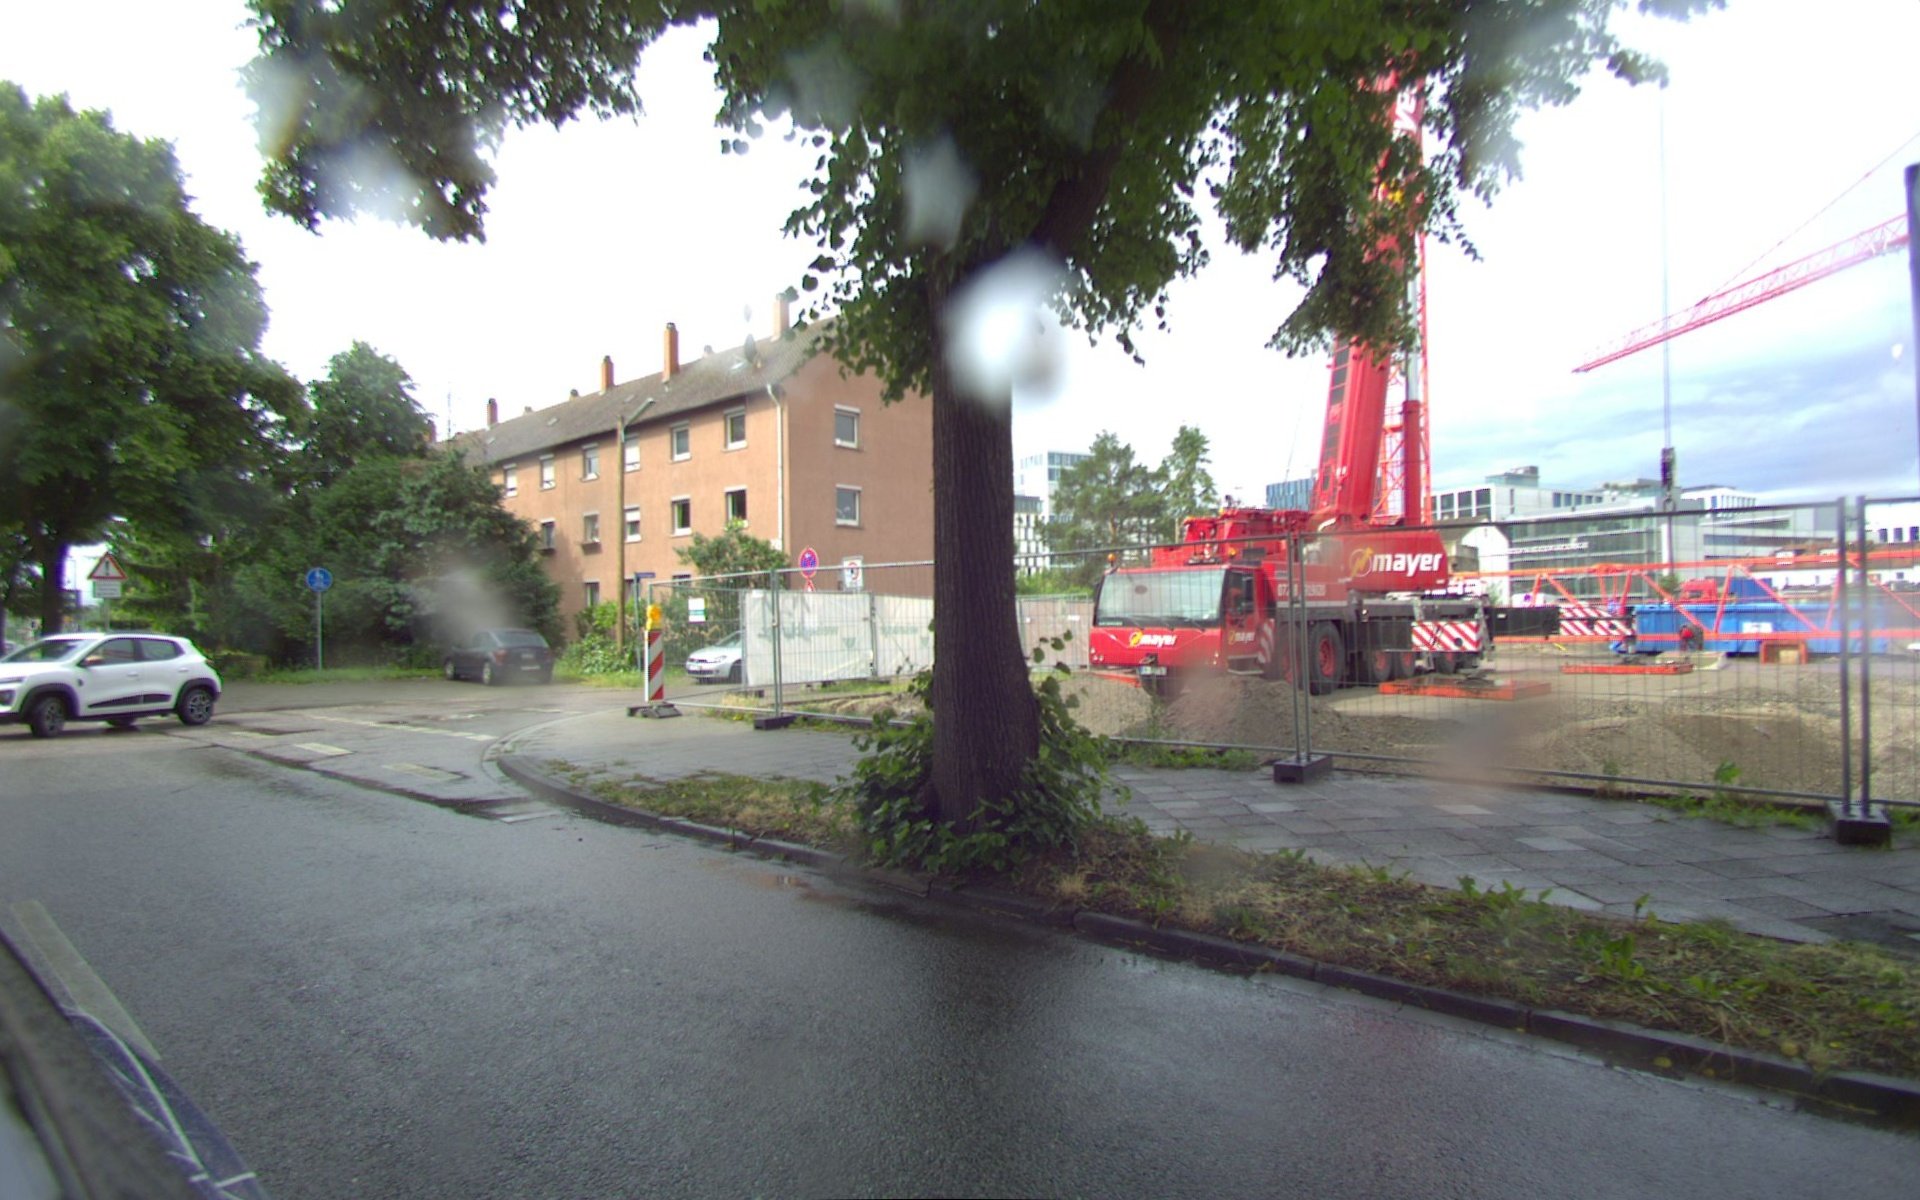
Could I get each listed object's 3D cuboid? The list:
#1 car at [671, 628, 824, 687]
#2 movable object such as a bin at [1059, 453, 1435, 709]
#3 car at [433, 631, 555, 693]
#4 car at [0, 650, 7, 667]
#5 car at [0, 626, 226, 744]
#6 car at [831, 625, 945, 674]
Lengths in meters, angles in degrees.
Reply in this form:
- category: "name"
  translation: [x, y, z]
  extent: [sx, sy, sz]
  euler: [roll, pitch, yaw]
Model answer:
- category: "car"
  translation: [-5.882, 1.566, 28.373]
  extent: [1.726, 1.484, 4.013]
  euler: [-2, -2, 39]
- category: "movable object such as a bin"
  translation: [6.408, -0.273, 21.088]
  extent: [3.366, 4.146, 9.704]
  euler: [-3, -2, 43]
- category: "car"
  translation: [-12.640, 1.615, 27.379]
  extent: [3.869, 1.431, 1.607]
  euler: [0, 1, 42]
- category: "car"
  translation: [-88.681, 5.368, 92.886]
  extent: [3.794, 1.519, 1.661]
  euler: [-3, -3, 44]
- category: "car"
  translation: [-13.279, 1.190, 15.103]
  extent: [1.719, 1.545, 3.605]
  euler: [-1, -1, 10]
- category: "car"
  translation: [-2.244, 1.552, 32.456]
  extent: [1.721, 1.424, 4.026]
  euler: [-2, -2, 30]
